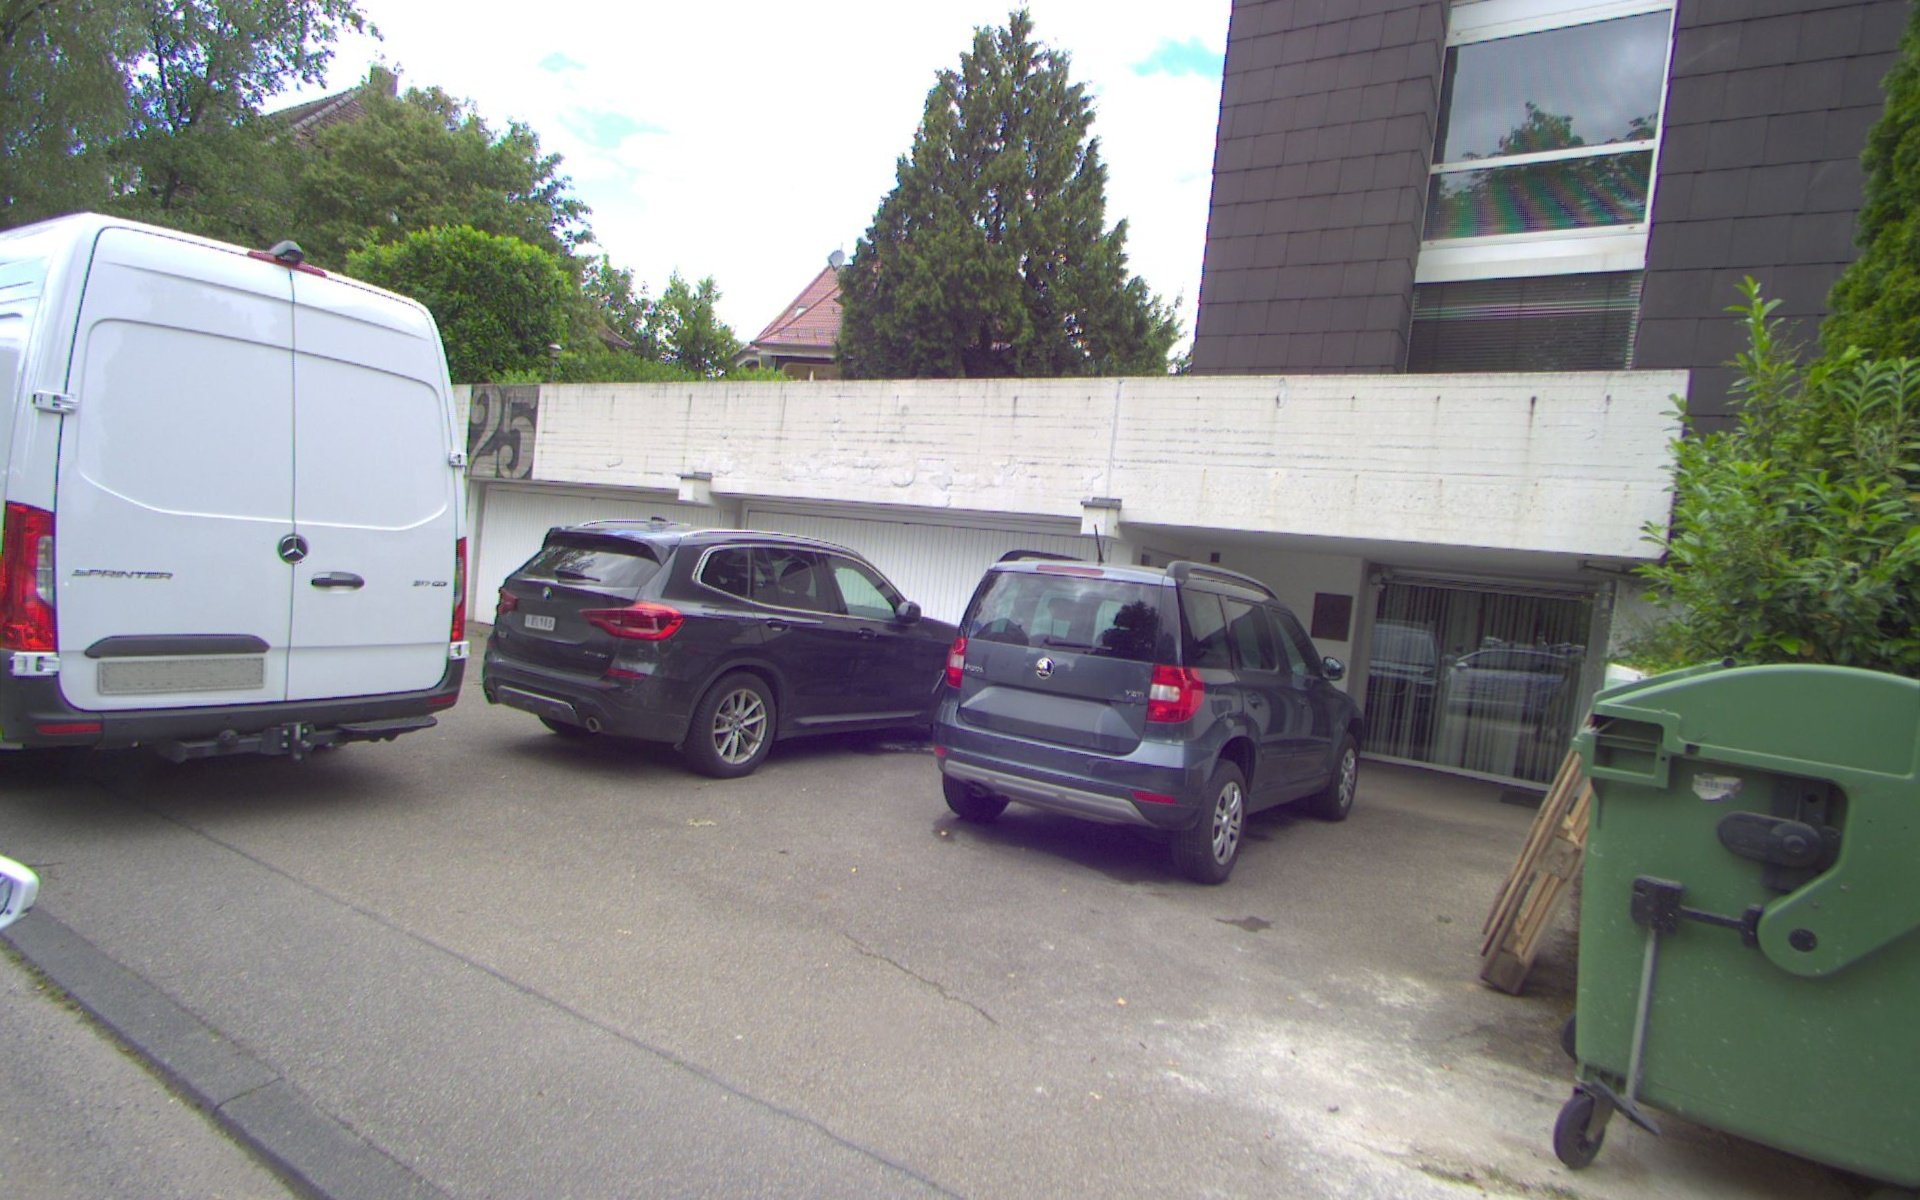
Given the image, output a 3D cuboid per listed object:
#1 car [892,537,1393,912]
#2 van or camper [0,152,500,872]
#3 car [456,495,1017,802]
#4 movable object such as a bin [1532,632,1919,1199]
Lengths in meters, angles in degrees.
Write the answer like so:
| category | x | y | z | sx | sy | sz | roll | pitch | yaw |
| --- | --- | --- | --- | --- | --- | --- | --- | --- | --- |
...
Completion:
| category | x | y | z | sx | sy | sz | roll | pitch | yaw |
| --- | --- | --- | --- | --- | --- | --- | --- | --- | --- |
| car | 1.493 | 0.645 | 6.776 | 1.717 | 1.672 | 3.899 | 6 | 1 | 35 |
| van or camper | -5.764 | -0.581 | 6.258 | 6.436 | 2.662 | 1.990 | 6 | 4 | 32 |
| car | -1.397 | 0.324 | 8.015 | 1.668 | 1.696 | 4.383 | 6 | 1 | 32 |
| movable object such as a bin | 2.417 | 0.903 | 2.955 | 1.098 | 1.469 | 1.405 | 6 | 1 | 32 |
